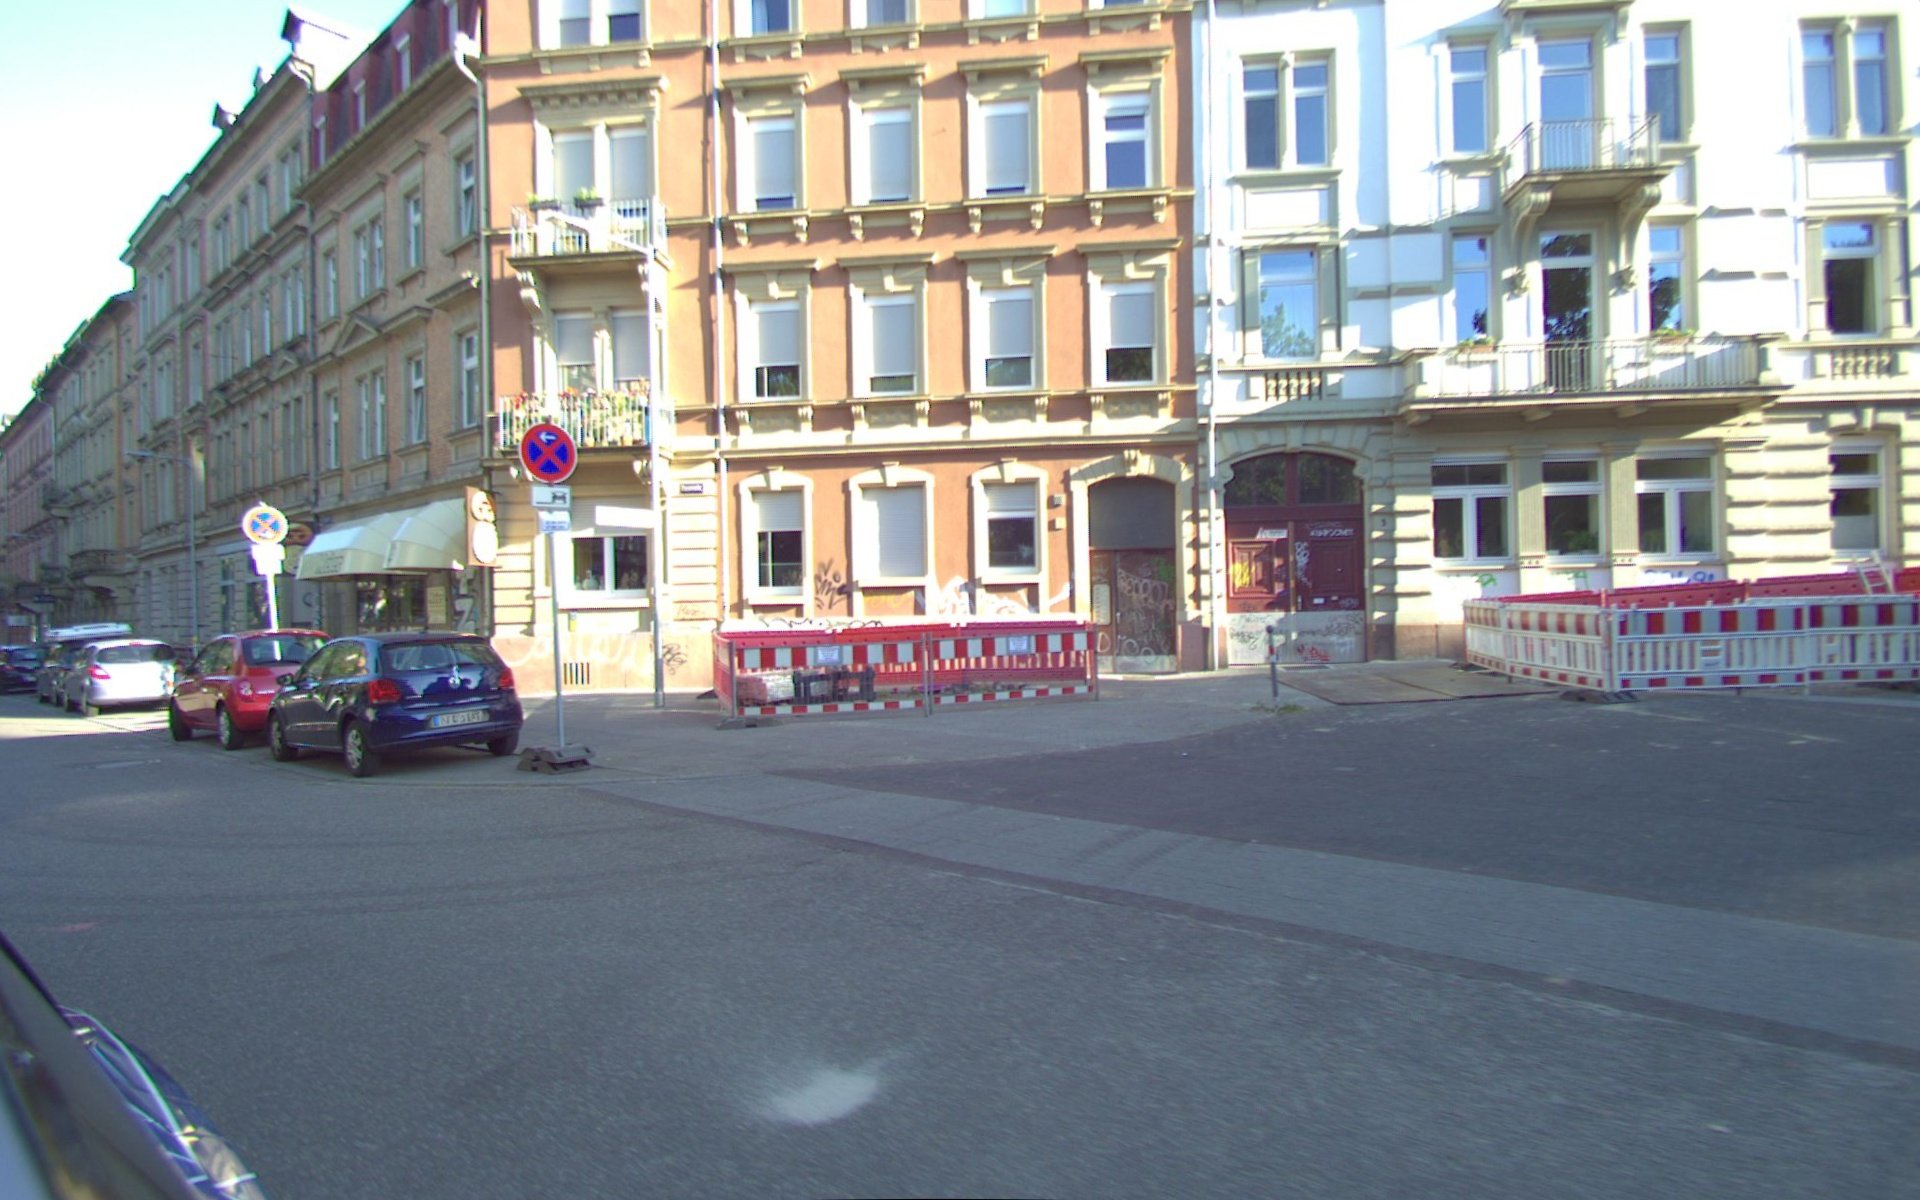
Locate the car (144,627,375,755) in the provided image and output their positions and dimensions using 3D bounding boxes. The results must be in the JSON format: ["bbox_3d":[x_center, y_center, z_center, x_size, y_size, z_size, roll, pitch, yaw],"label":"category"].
[{"bbox_3d":[-10.128,1.223,14.527,3.995,1.542,1.653,-3,-1,39],"label":"car"}]

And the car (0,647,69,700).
[{"bbox_3d":[-29.105,2.253,31.339,4.017,1.465,1.686,-3,-2,40],"label":"car"}]

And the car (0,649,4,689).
[{"bbox_3d":[-39.876,2.794,40.725,3.893,1.579,1.723,-3,-2,42],"label":"car"}]

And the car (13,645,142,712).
[{"bbox_3d":[-21.723,1.878,24.859,4.297,1.448,1.747,-3,-2,40],"label":"car"}]

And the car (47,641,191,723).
[{"bbox_3d":[-17.730,1.661,21.271,3.994,1.448,1.707,-3,0,42],"label":"car"}]

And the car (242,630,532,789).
[{"bbox_3d":[-6.711,1.135,11.675,3.998,1.469,1.652,-3,-1,41],"label":"car"}]
